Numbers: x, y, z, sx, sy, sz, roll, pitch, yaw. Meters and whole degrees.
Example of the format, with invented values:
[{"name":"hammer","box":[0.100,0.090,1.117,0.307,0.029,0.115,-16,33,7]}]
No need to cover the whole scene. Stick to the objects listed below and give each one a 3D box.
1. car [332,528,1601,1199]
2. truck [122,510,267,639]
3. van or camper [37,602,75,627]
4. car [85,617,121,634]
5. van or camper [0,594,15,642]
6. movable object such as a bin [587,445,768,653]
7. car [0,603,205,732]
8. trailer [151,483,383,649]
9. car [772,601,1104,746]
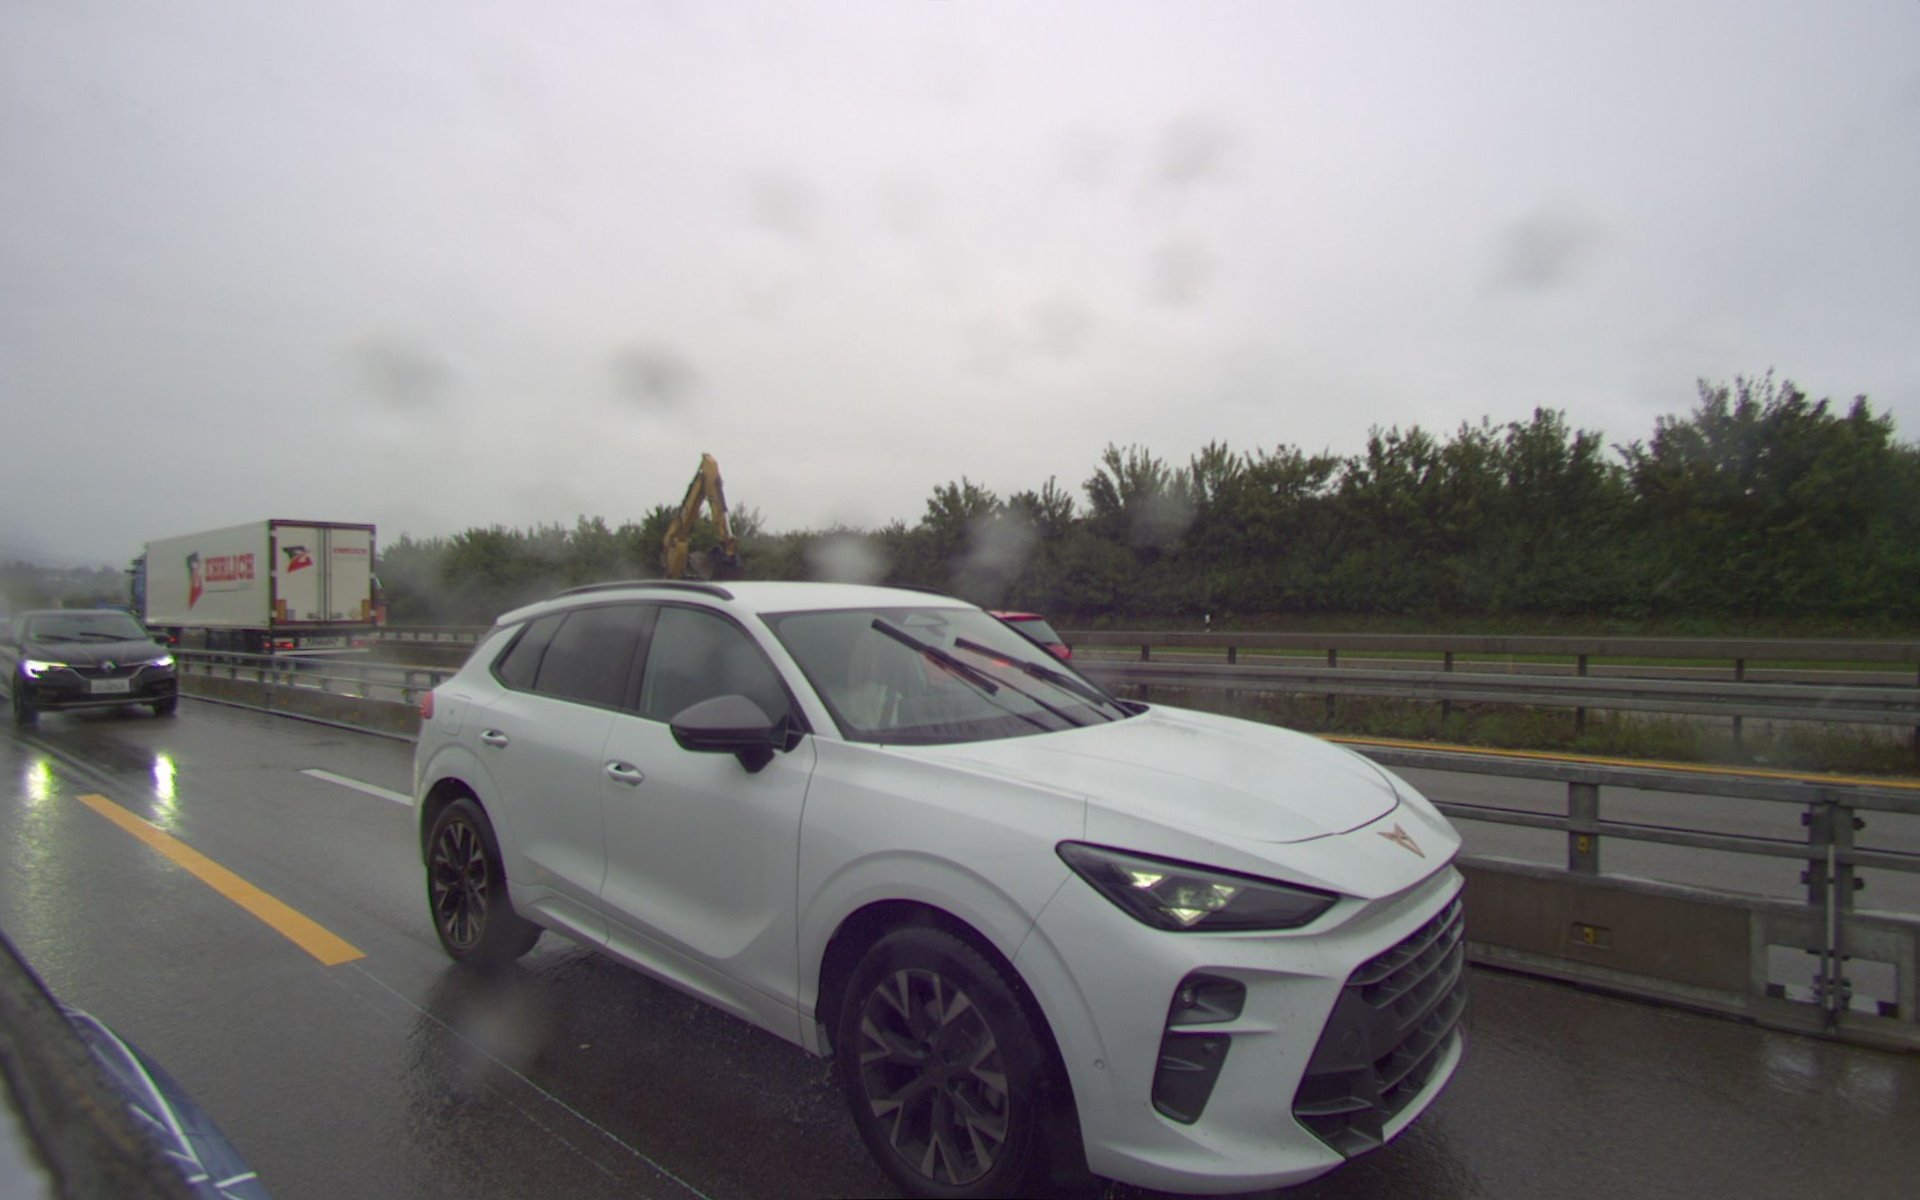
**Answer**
[{"name":"car","box":[-0.557,0.681,4.008,5.004,1.562,1.907,-1,0,41]},{"name":"truck","box":[-27.717,-0.819,36.560,6.322,4.264,2.859,0,-1,41]},{"name":"van or camper","box":[-166.677,2.614,186.520,8.486,4.356,3.338,-1,1,35]},{"name":"car","box":[-101.554,3.032,119.857,5.354,1.981,2.075,-1,-1,36]},{"name":"van or camper","box":[-63.903,1.177,66.146,6.694,3.064,2.270,0,1,40]},{"name":"movable object such as a bin","box":[-12.432,-2.035,44.084,8.304,8.204,3.559,0,1,41]},{"name":"car","box":[-13.453,0.893,15.440,5.193,1.640,2.043,-1,-1,41]},{"name":"trailer","box":[-22.027,-0.836,31.635,12.889,4.319,2.862,0,-1,41]},{"name":"car","box":[-0.405,0.789,12.754,4.215,1.515,1.591,0,1,41]}]
